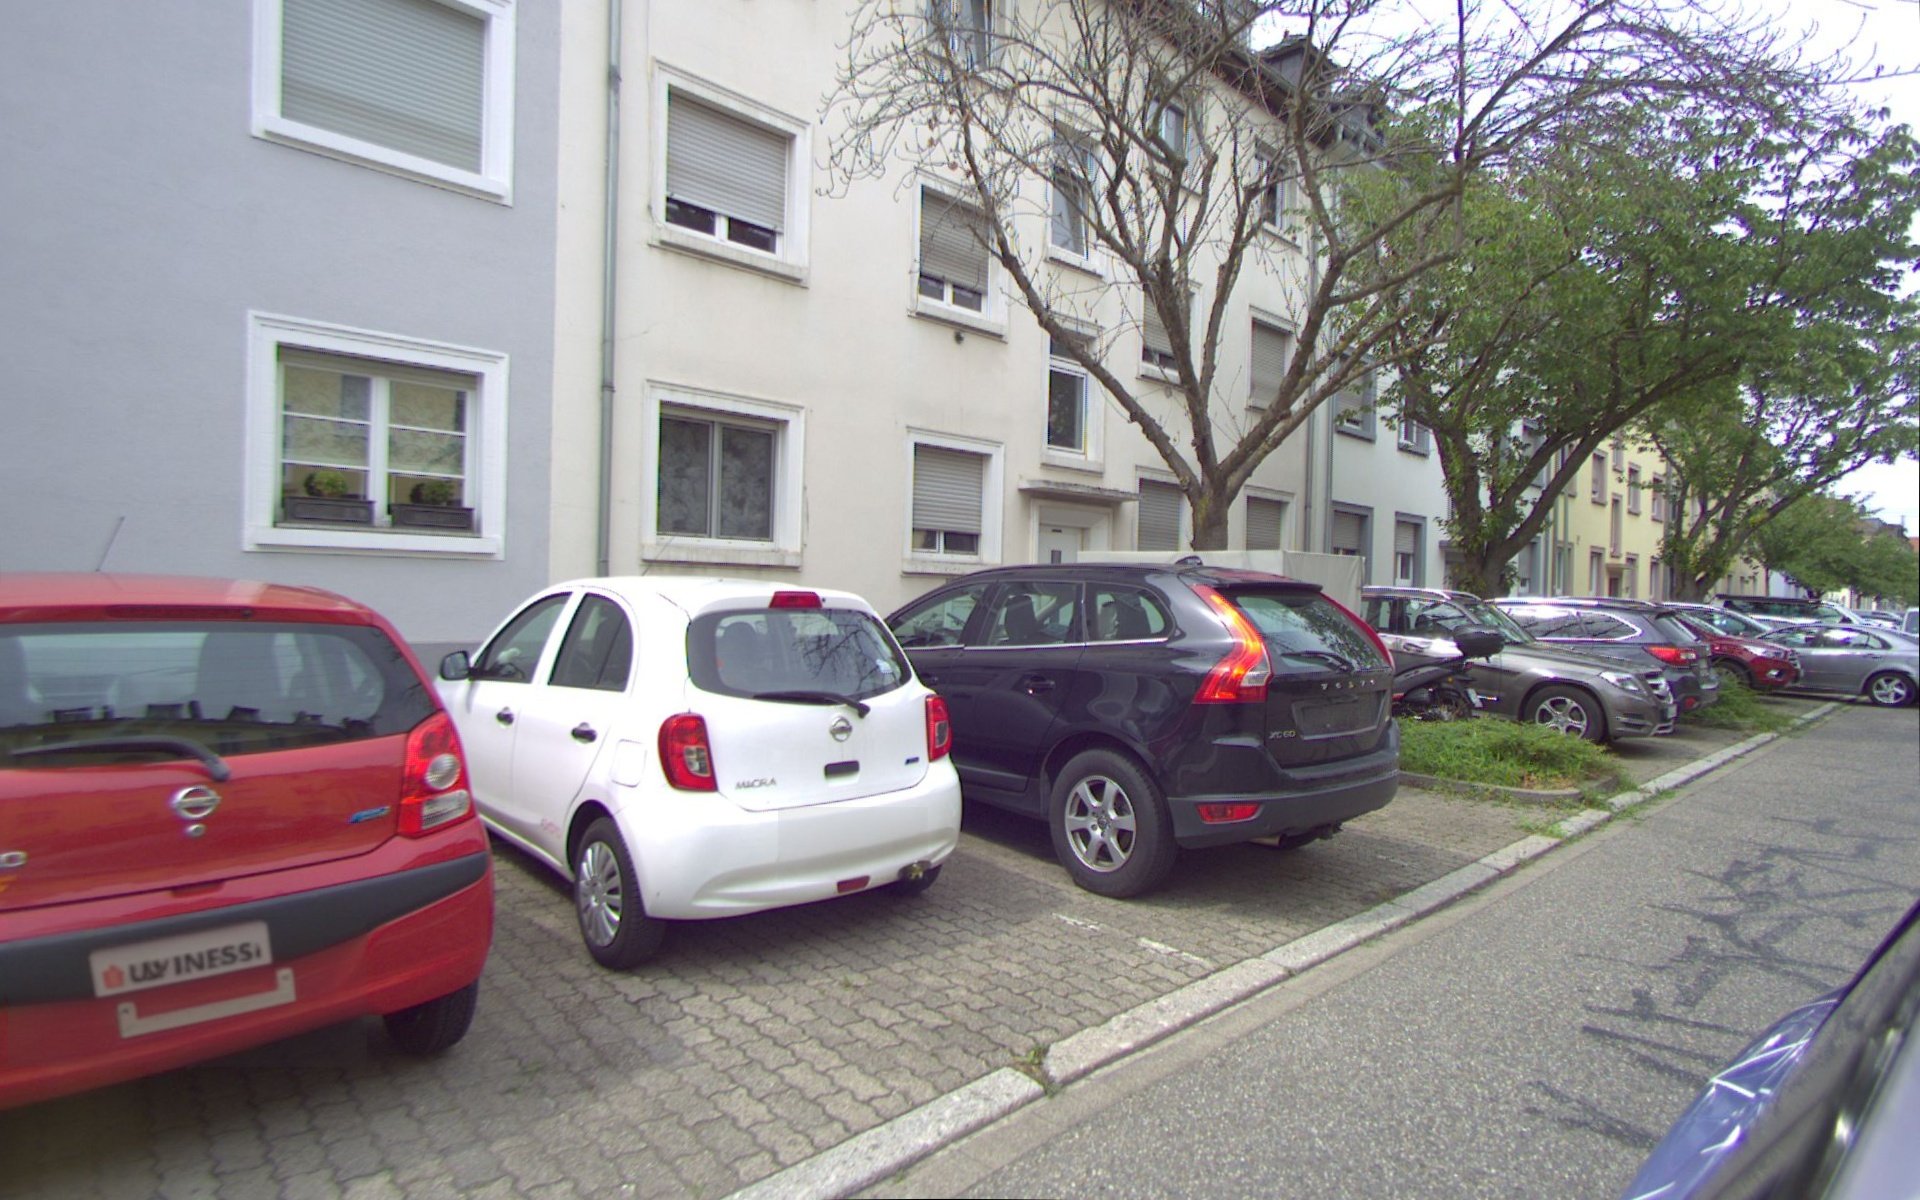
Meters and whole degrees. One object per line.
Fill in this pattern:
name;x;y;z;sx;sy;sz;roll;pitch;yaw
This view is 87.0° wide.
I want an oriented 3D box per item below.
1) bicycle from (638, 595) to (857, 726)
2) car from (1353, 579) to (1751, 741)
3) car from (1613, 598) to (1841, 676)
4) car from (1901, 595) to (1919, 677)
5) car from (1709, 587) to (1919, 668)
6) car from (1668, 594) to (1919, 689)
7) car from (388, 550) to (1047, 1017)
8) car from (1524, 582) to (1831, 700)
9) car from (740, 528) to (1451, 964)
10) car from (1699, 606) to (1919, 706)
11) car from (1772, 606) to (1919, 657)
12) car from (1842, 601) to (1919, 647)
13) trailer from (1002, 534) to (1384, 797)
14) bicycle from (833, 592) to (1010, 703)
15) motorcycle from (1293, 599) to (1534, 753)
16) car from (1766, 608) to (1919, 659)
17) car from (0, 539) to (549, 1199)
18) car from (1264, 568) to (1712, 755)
bicycle;-2.021;0.539;9.820;1.971;1.110;0.688;1;3;-42
car;7.761;0.648;13.553;1.873;1.617;4.219;0;3;-44
car;17.893;0.801;23.749;1.610;1.437;3.993;1;3;-43
car;24.619;0.844;24.915;1.994;1.939;4.628;0;0;45
car;26.630;0.779;31.375;5.231;2.048;2.041;5;3;43
car;17.260;0.768;20.946;1.610;1.555;3.993;1;3;-43
car;-1.554;0.549;5.377;1.832;1.459;3.755;1;3;-42
car;13.026;0.640;18.592;1.870;1.698;4.225;1;3;-40
car;0.494;0.494;6.368;1.870;1.757;4.225;1;3;-40
car;16.138;0.986;18.449;1.737;1.472;3.993;1;3;-43
car;33.224;1.123;37.573;1.820;1.528;4.552;0;3;-44
car;43.986;1.148;46.652;1.819;1.933;4.746;1;3;-43
trailer;1.891;0.403;8.828;1.375;1.853;2.969;1;3;-39
bicycle;-0.395;0.494;11.393;1.971;1.110;0.688;1;3;-42
motorcycle;4.789;0.736;10.830;0.703;1.427;2.227;1;1;-45
car;31.481;1.151;36.030;1.820;1.432;4.097;0;3;-44
car;-3.207;0.541;3.668;3.990;1.427;1.740;5;3;45
car;5.958;0.539;11.787;1.873;1.617;4.219;0;3;-45
